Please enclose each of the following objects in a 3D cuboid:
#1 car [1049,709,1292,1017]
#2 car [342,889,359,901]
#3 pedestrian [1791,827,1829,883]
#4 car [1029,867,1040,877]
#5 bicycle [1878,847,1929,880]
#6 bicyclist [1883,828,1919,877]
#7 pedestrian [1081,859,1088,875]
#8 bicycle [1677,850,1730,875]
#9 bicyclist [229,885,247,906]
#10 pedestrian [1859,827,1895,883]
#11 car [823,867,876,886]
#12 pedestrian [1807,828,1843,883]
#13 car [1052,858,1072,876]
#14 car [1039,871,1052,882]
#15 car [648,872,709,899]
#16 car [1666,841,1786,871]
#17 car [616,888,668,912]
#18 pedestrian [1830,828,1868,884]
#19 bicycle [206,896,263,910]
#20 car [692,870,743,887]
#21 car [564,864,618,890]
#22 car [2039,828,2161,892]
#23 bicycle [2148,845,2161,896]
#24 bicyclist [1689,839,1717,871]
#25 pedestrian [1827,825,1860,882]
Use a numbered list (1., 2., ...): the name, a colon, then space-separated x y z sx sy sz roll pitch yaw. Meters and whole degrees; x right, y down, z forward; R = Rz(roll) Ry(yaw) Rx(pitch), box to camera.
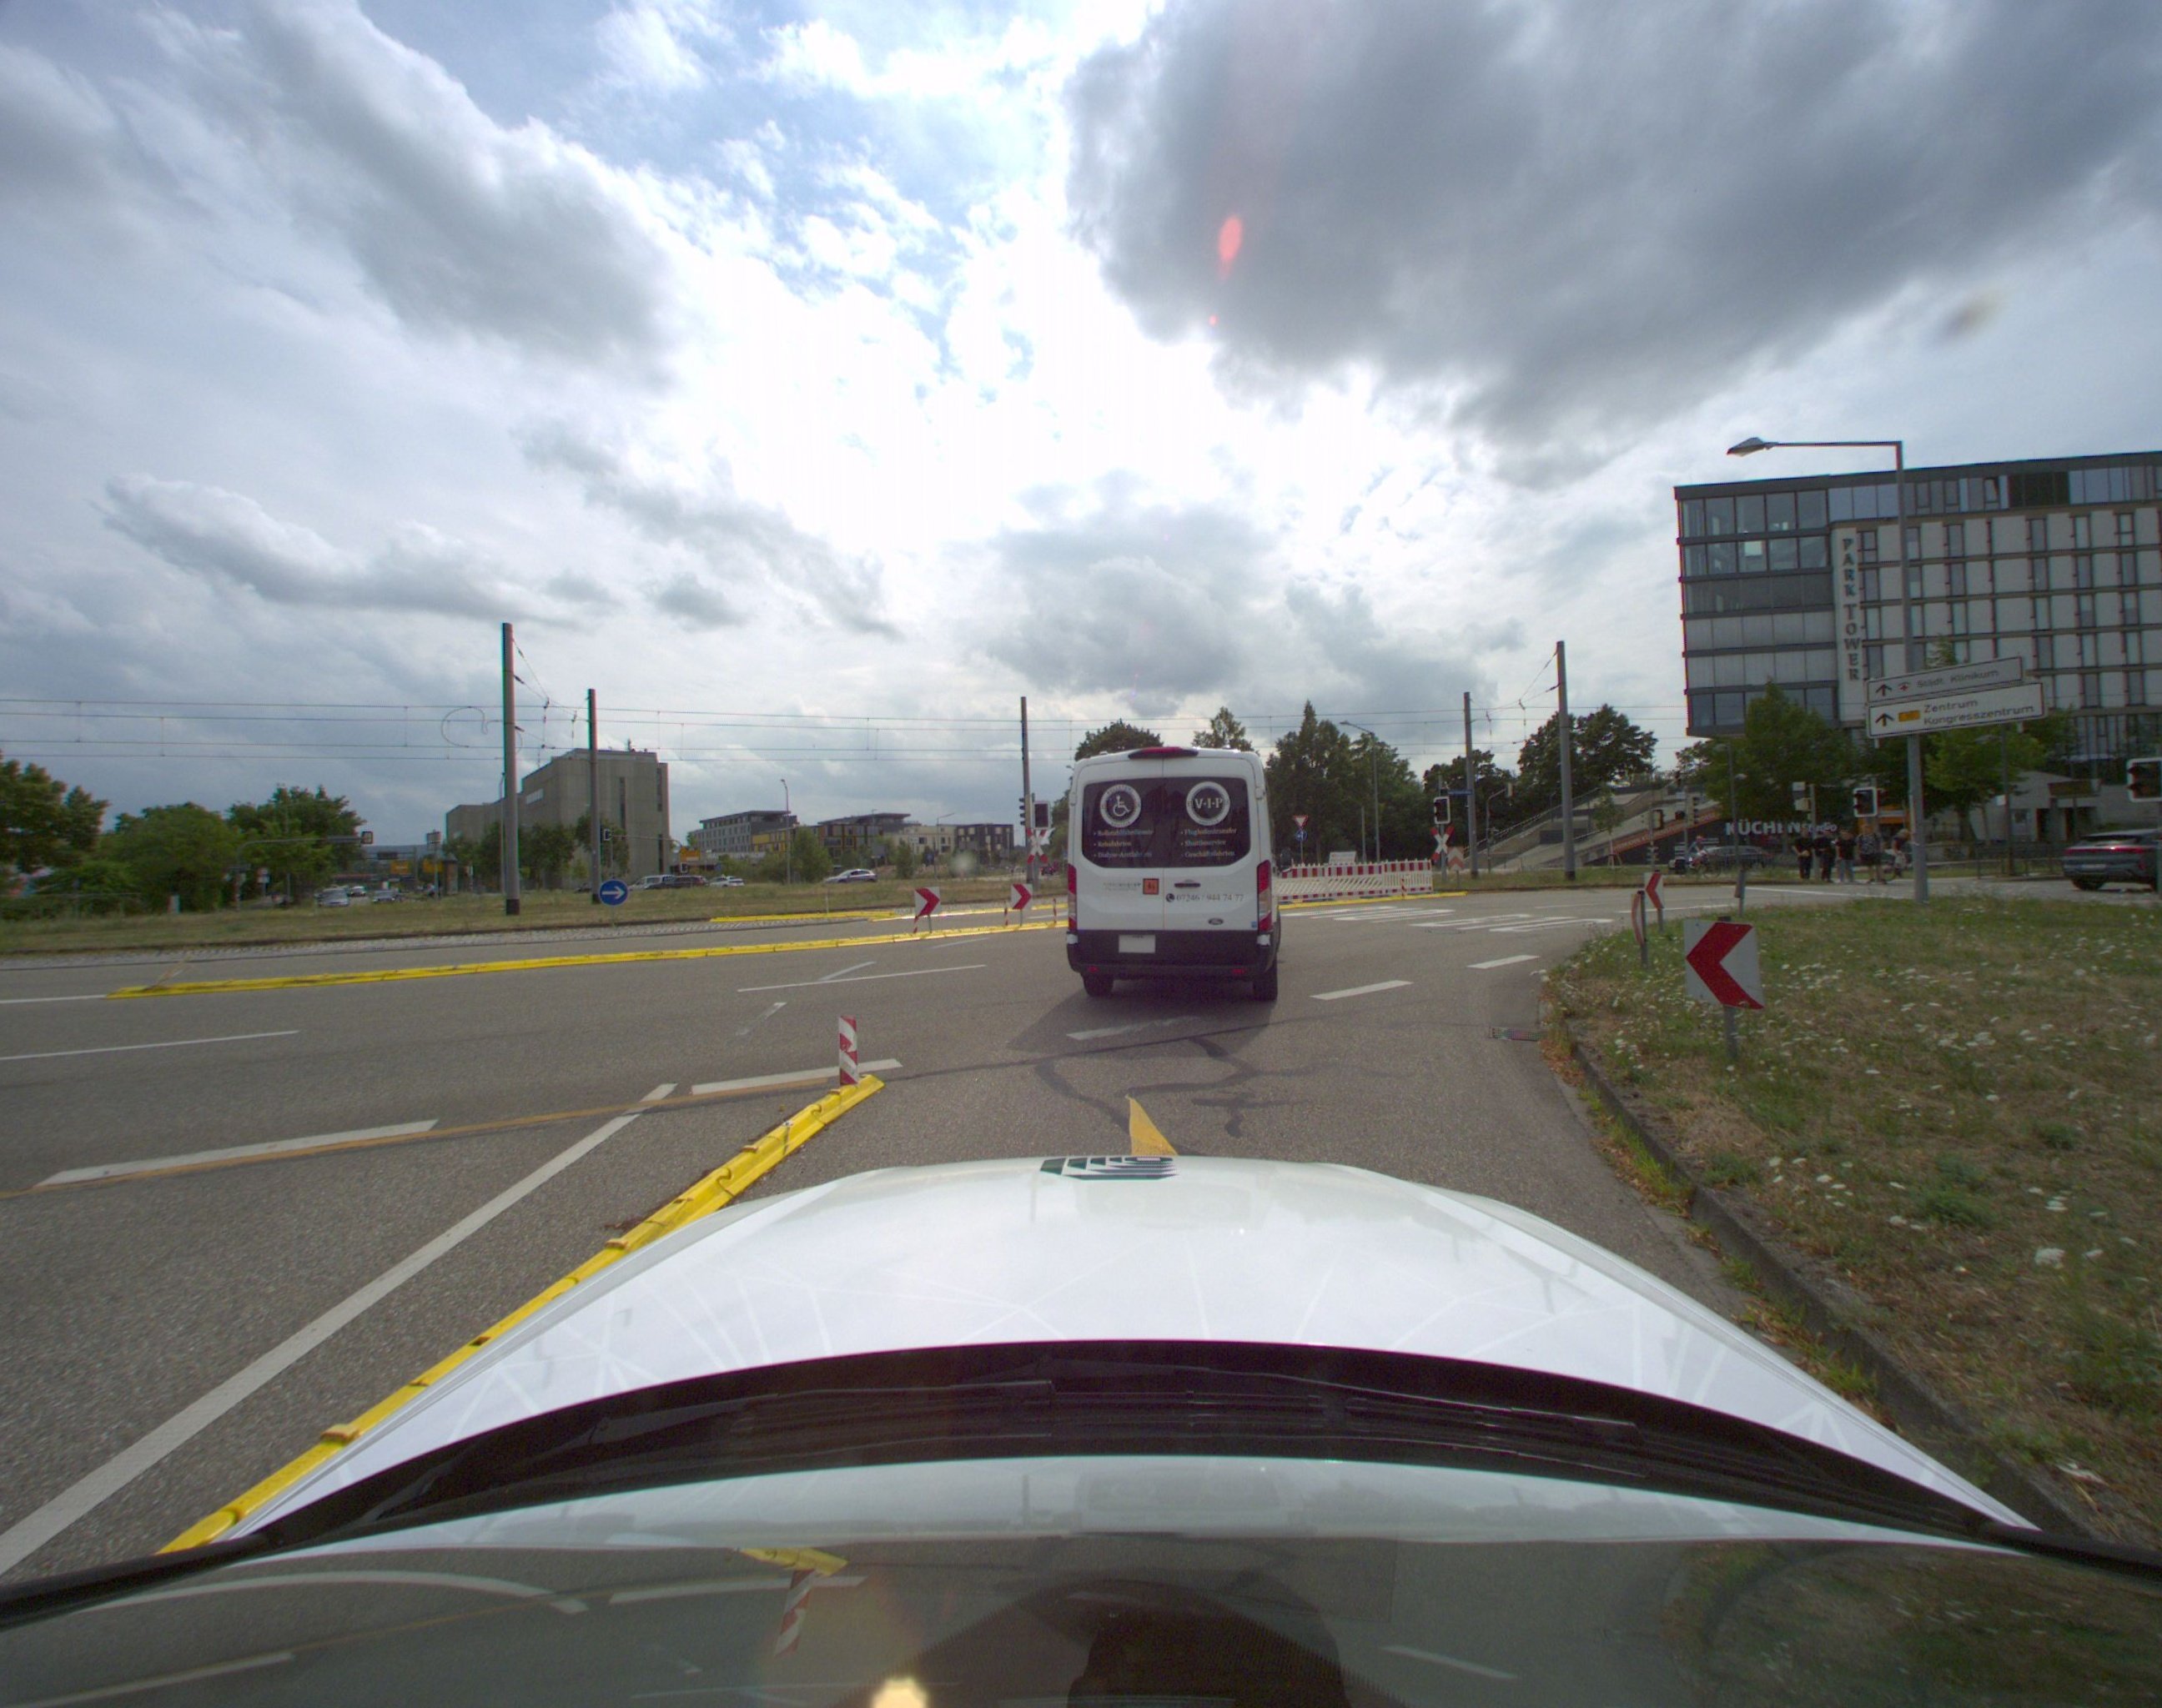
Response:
1. car: 1.429 0.127 10.109 2.111 2.697 5.652 -2 -1 13
2. car: -124.529 7.018 138.881 3.950 1.876 1.901 -2 -1 45
3. pedestrian: 23.897 0.038 26.705 0.686 1.781 0.553 -1 -1 0
4. car: -9.604 3.696 167.015 1.987 1.849 3.999 -1 -2 0
5. bicycle: 27.132 0.312 26.889 0.542 1.058 1.722 -2 0 24
6. bicyclist: 27.150 -0.040 26.984 0.554 1.580 0.770 -2 -1 23
7. pedestrian: 0.339 1.276 81.303 0.443 1.594 0.676 -2 -1 26
8. bicycle: 26.317 0.354 34.467 0.652 1.007 1.749 -1 0 -12
9. bicyclist: -60.129 2.958 58.118 0.853 1.409 0.678 -2 -1 29
10. pedestrian: 25.565 0.035 26.162 0.577 1.781 0.553 -1 -1 0
11. car: -19.784 1.902 69.641 4.019 1.464 1.812 0 -2 -38
12. pedestrian: 24.608 0.052 26.948 0.629 1.781 0.553 -1 -1 0
13. car: -2.338 1.583 99.045 1.992 2.014 3.988 -1 -2 -8
14. car: -5.835 3.710 134.288 1.986 1.849 4.001 -1 -2 1
15. car: -31.361 2.482 63.547 3.999 2.014 1.987 0 -2 -20
16. car: 34.102 0.112 43.143 4.697 1.458 1.852 -1 0 6
17. car: -37.966 3.971 70.424 4.306 2.014 2.012 -2 -2 29
18. pedestrian: 24.793 0.070 26.296 0.686 1.781 0.553 -1 -1 0
19. bicycle: -60.208 3.456 57.957 0.853 0.855 2.675 -2 -1 29
20. car: -32.599 2.194 73.065 3.956 1.464 1.841 -1 -2 16
21. car: -39.900 1.854 66.317 3.949 2.014 2.012 -2 -2 29
22. car: 28.217 0.085 21.088 4.446 1.551 2.064 -2 0 -1
23. bicycle: 24.587 0.373 17.857 0.781 1.168 2.054 -3 -1 34
24. bicyclist: 26.317 0.055 34.471 0.639 1.317 0.672 -1 -1 -13
25. pedestrian: 25.259 -0.010 26.969 0.528 1.862 0.553 -1 -1 0
